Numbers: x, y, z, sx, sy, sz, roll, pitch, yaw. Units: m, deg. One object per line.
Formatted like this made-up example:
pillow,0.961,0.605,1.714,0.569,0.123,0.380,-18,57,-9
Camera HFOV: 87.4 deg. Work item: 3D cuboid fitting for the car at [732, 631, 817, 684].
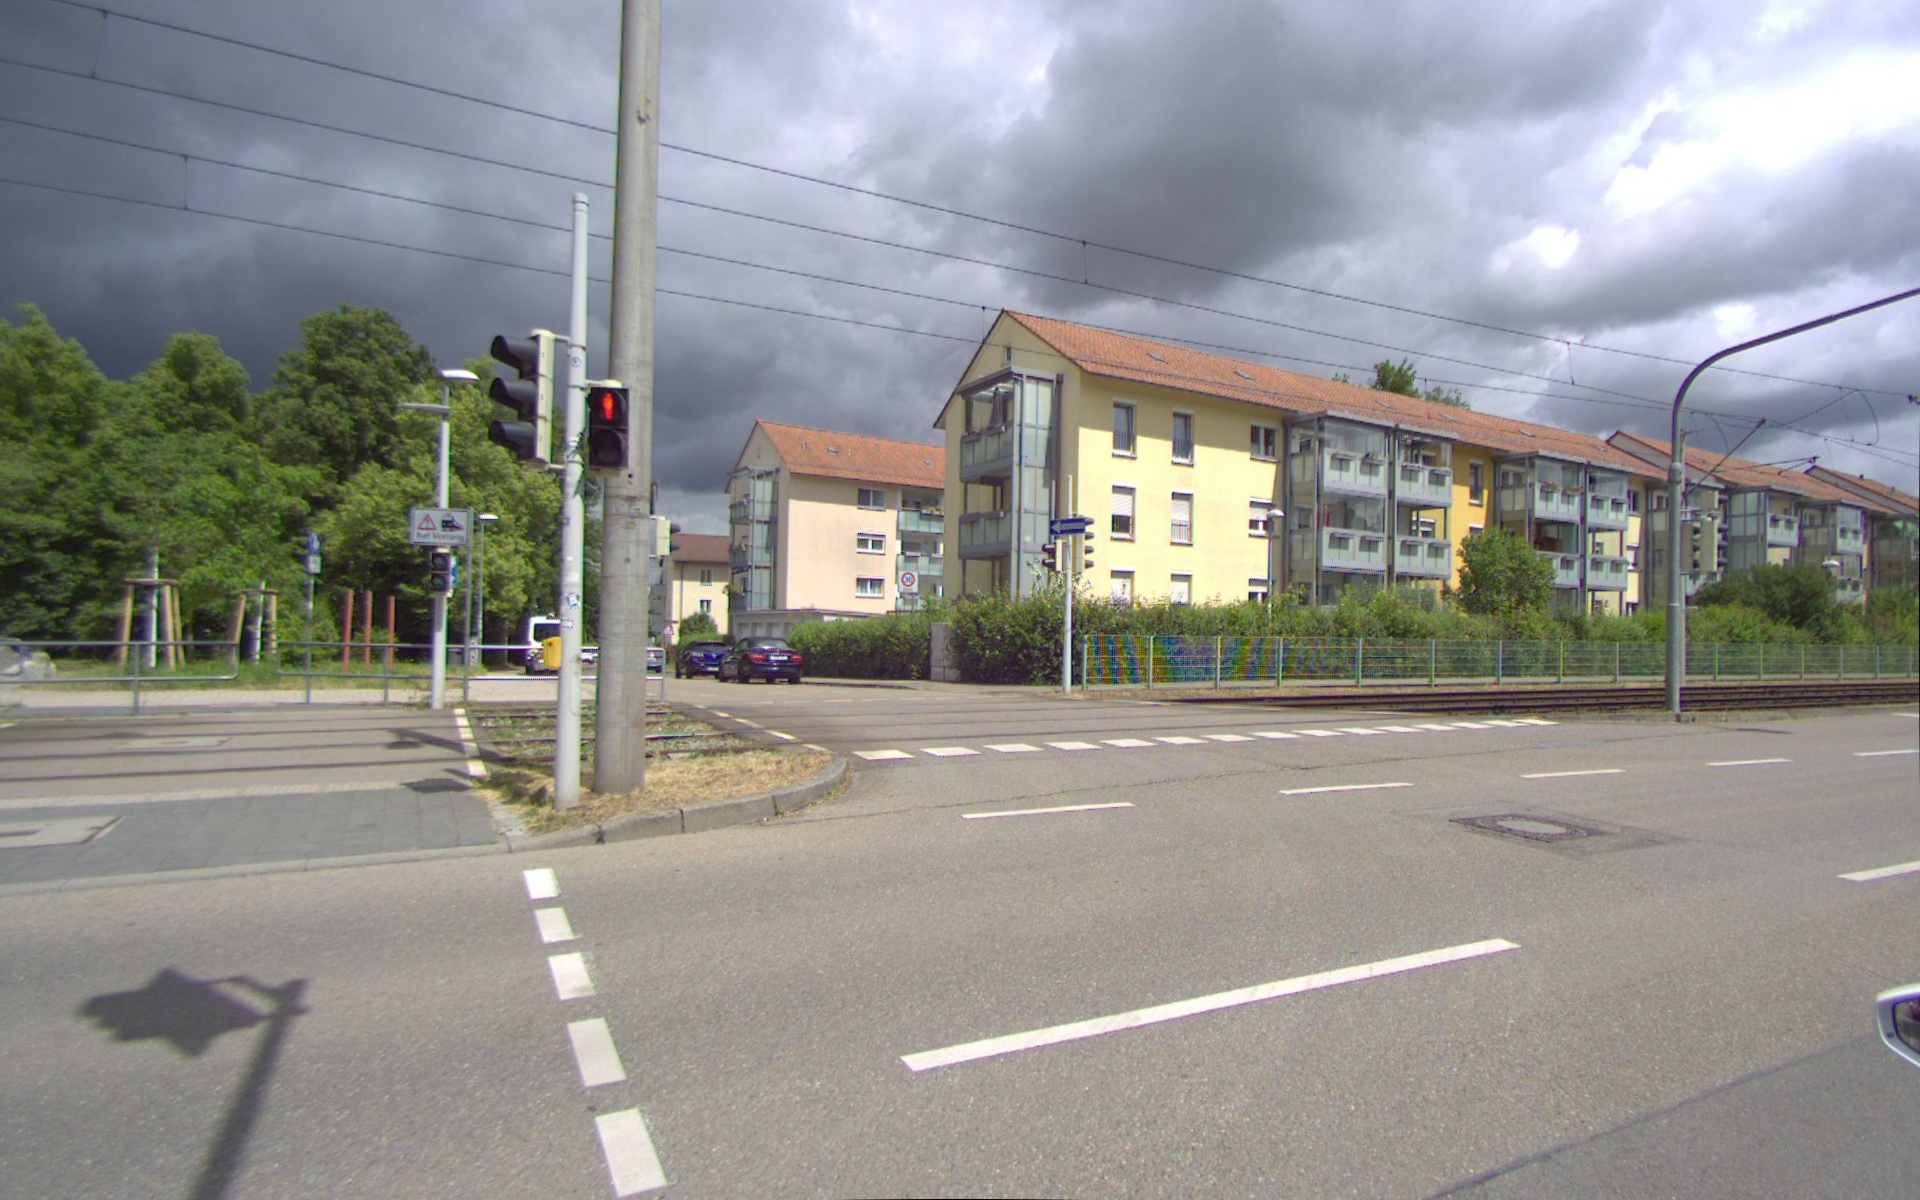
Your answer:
car,-5.737,1.816,30.668,1.969,1.485,3.985,2,-5,-19

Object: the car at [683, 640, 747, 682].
car,-9.354,2.376,38.203,1.969,1.485,3.985,2,-5,-19

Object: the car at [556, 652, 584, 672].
car,-31.243,4.987,80.363,1.971,1.485,3.981,2,-5,-22

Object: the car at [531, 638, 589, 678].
car,-16.123,2.403,40.645,1.969,1.485,3.985,2,-5,-19

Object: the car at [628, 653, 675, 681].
car,-17.132,3.754,55.690,1.973,1.485,3.978,2,-5,-24

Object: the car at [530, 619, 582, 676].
car,-18.137,2.178,45.006,1.973,2.387,3.978,2,-5,-24
